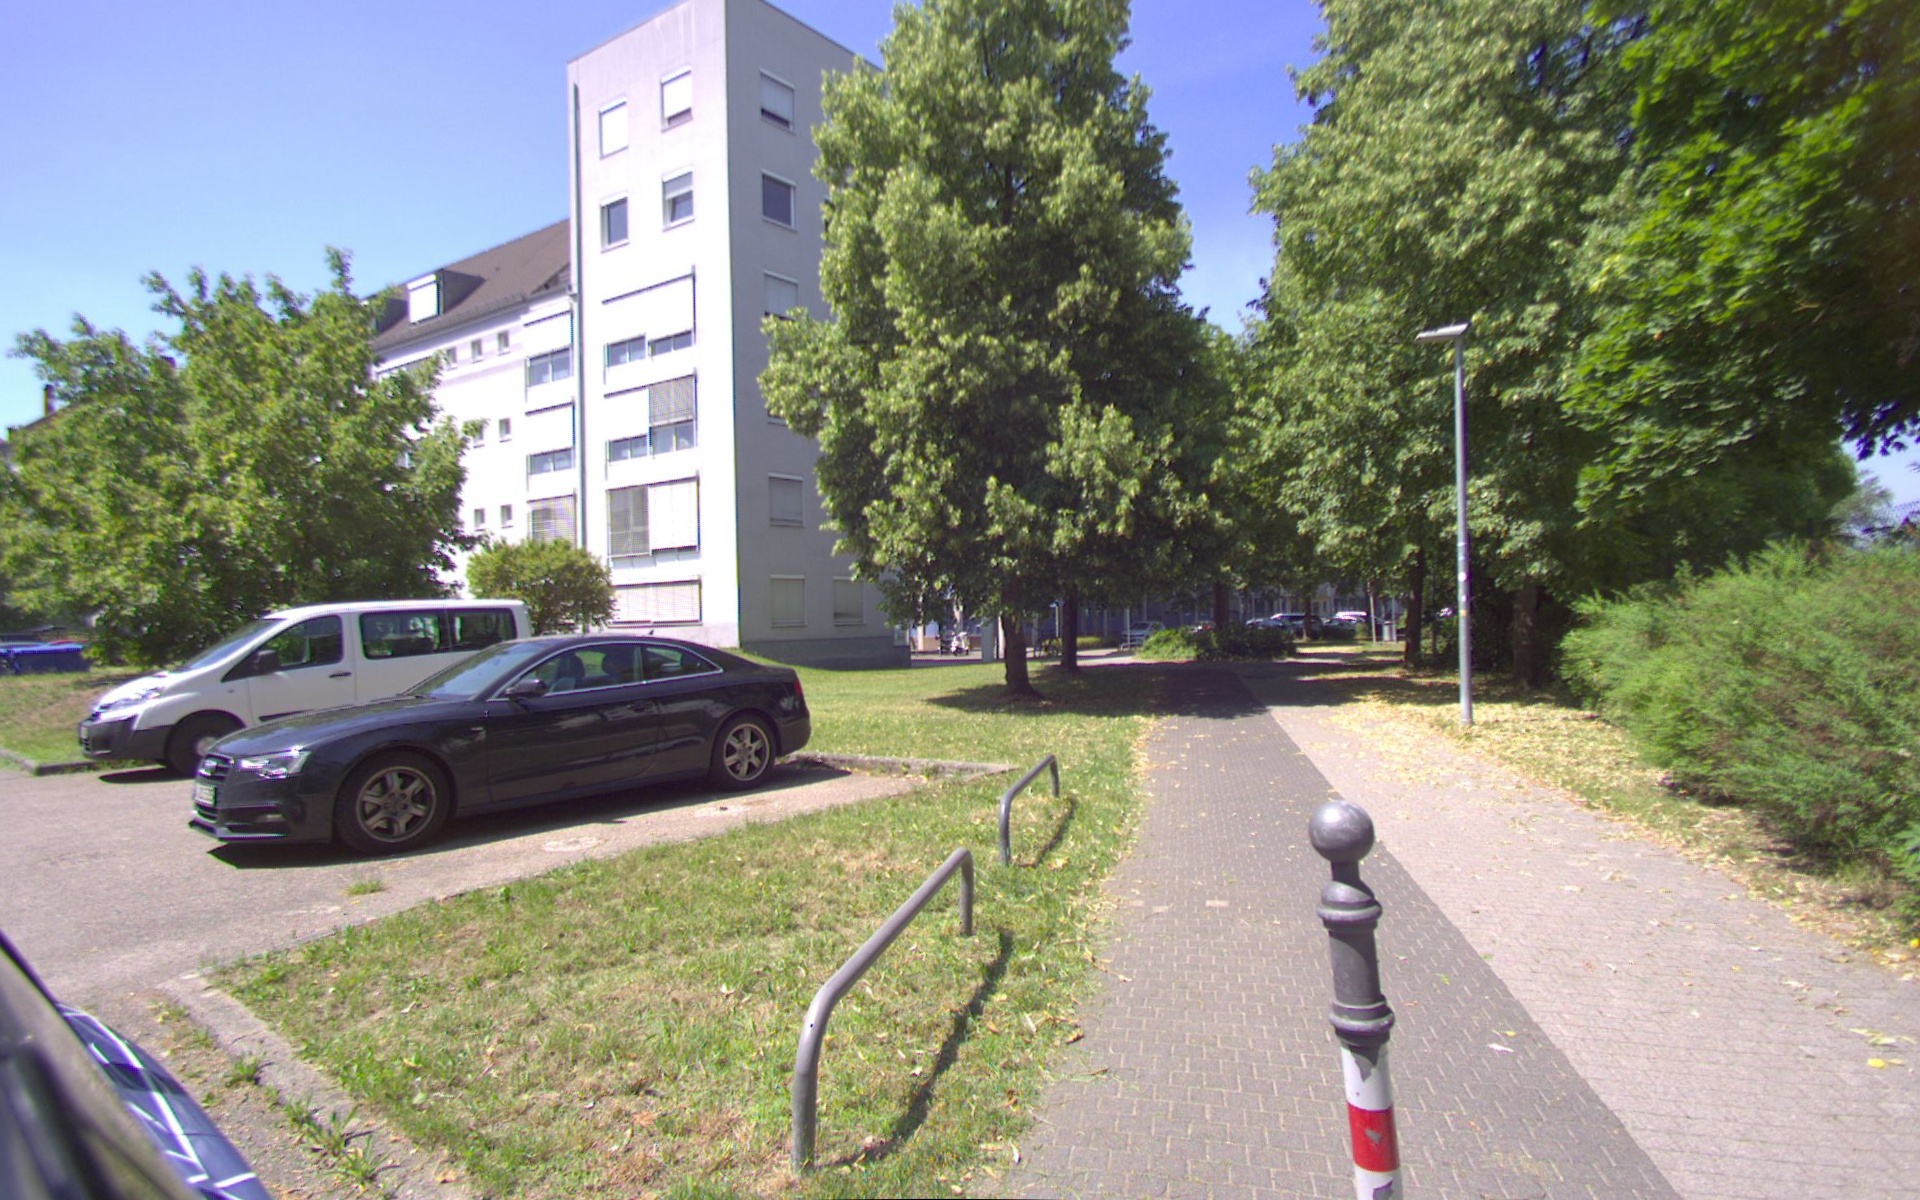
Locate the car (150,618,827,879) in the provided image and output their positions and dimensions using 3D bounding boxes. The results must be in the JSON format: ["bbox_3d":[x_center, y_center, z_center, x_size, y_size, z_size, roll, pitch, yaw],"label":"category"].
[{"bbox_3d":[-3.401,0.918,7.961,2.023,1.390,4.382,-5,-3,42],"label":"car"}]

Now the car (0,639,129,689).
[{"bbox_3d":[-32.046,2.226,35.521,1.609,1.581,4.175,-2,-1,34],"label":"car"}]

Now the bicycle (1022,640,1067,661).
[{"bbox_3d":[2.945,1.751,35.296,0.734,0.646,1.594,-6,-4,41],"label":"bicycle"}]

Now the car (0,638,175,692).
[{"bbox_3d":[-29.110,2.116,33.895,1.609,1.581,4.175,-2,-1,34],"label":"car"}]

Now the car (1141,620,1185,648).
[{"bbox_3d":[12.723,2.093,63.283,1.798,1.615,3.862,-1,-1,25],"label":"car"}]

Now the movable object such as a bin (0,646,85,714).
[{"bbox_3d":[-20.116,1.723,22.193,1.094,1.399,1.255,-2,-1,40],"label":"movable object such as a bin"}]

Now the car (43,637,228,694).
[{"bbox_3d":[-26.550,2.054,32.753,1.609,1.581,4.395,-2,-1,34],"label":"car"}]

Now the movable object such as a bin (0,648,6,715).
[{"bbox_3d":[-20.913,1.721,21.186,1.094,1.399,1.255,-2,-1,40],"label":"movable object such as a bin"}]

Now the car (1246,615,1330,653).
[{"bbox_3d":[18.292,1.875,56.456,3.994,2.029,1.975,-2,-1,38],"label":"car"}]

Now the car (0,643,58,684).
[{"bbox_3d":[-39.792,2.627,41.307,1.609,1.581,4.175,-2,-1,34],"label":"car"}]

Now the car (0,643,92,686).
[{"bbox_3d":[-37.073,2.537,39.805,1.609,1.581,4.175,-2,-1,34],"label":"car"}]

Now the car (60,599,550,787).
[{"bbox_3d":[-7.944,0.959,12.667,2.067,1.898,4.796,-2,-1,42],"label":"car"}]

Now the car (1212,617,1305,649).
[{"bbox_3d":[15.797,1.726,53.684,4.335,1.622,1.909,-2,-1,38],"label":"car"}]

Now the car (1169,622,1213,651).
[{"bbox_3d":[14.040,2.201,61.346,1.798,1.615,3.862,-1,-1,25],"label":"car"}]

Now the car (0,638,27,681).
[{"bbox_3d":[-42.426,2.566,42.728,2.005,1.837,4.175,-2,-1,34],"label":"car"}]

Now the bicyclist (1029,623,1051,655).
[{"bbox_3d":[2.774,1.358,35.126,0.518,1.053,0.515,-6,-5,42],"label":"bicyclist"}]
